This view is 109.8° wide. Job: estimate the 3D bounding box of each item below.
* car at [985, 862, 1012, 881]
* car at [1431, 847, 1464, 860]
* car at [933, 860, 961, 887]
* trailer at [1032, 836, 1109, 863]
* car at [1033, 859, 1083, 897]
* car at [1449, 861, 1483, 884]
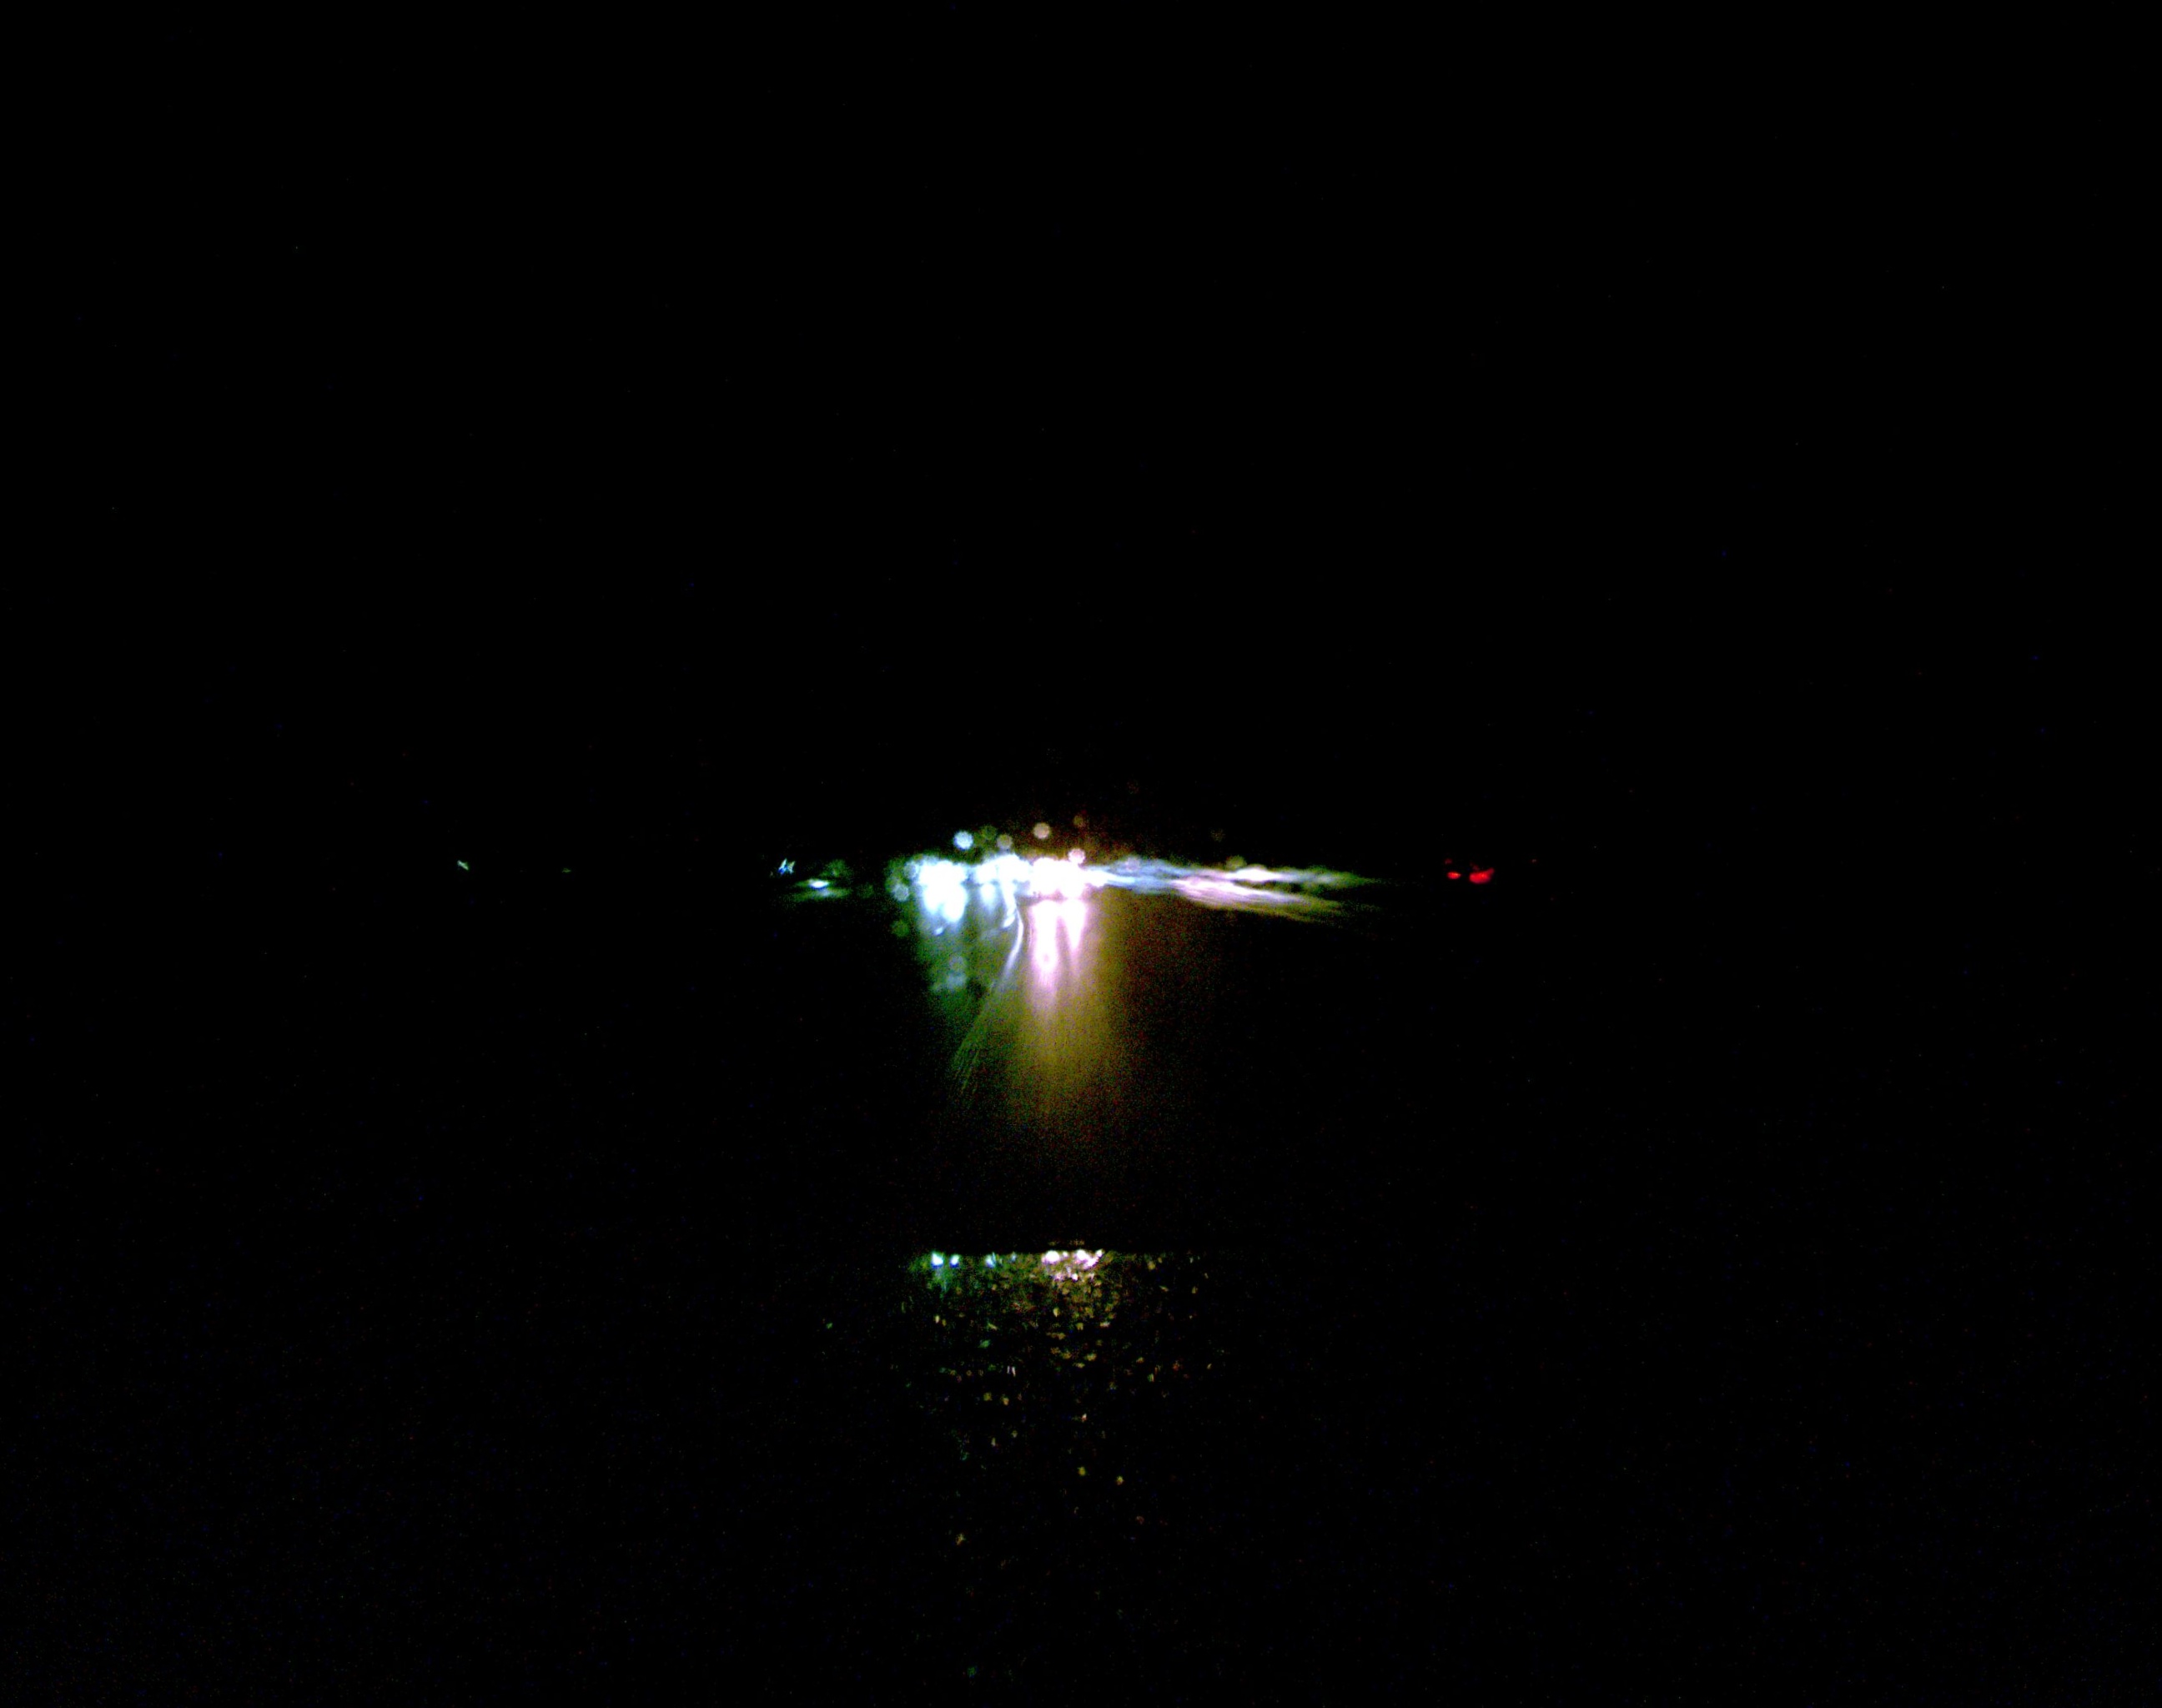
[{"bbox_3d":[-6.185,1.293,56.843,1.761,1.304,4.082,-1,-1,-10],"label":"car"},{"bbox_3d":[51.369,-0.067,106.464,4.043,1.641,1.793,-3,1,27],"label":"car"},{"bbox_3d":[-9.170,1.279,52.042,1.742,1.674,4.117,-2,0,-9],"label":"car"},{"bbox_3d":[-1.951,-0.675,133.198,13.675,4.312,2.544,-1,2,26],"label":"trailer"},{"bbox_3d":[-0.928,0.986,32.900,1.686,1.442,3.643,-3,0,5],"label":"car"},{"bbox_3d":[27.840,1.310,55.042,1.728,1.390,3.934,2,2,21],"label":"car"}]
